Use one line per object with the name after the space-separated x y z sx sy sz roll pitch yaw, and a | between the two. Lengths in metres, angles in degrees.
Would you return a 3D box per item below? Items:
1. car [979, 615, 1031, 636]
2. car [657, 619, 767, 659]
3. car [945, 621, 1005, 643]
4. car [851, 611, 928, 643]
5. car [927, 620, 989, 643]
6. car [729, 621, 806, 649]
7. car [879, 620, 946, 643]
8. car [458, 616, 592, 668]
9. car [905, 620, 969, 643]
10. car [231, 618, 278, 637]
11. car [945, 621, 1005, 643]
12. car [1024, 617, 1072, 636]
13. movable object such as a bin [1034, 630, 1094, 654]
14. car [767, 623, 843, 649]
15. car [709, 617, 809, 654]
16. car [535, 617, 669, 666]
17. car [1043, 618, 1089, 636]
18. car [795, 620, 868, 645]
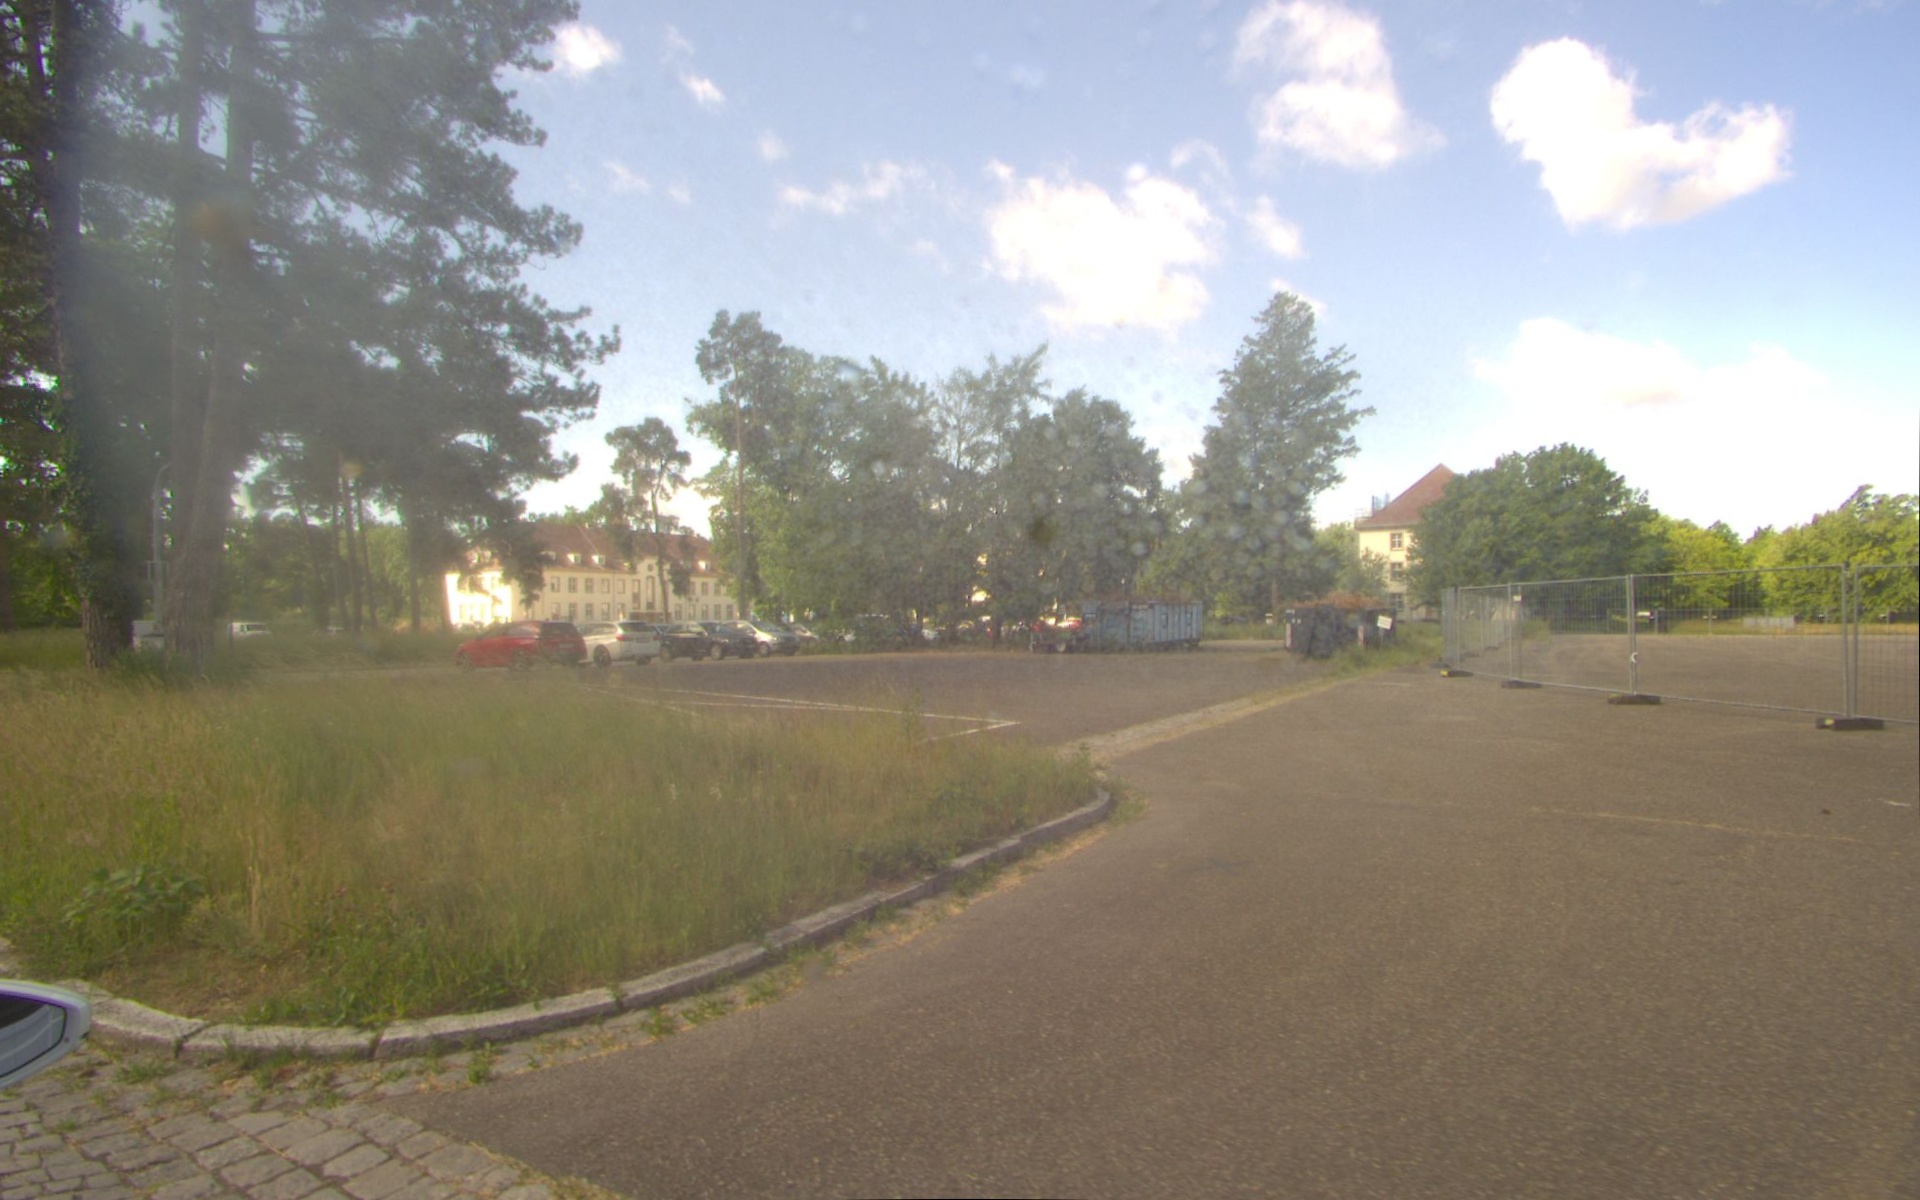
3.466 1.980 76.920 3.640 1.567 1.705 -1 -2 32 | car
-9.080 1.395 36.510 3.988 1.332 1.613 -1 0 33 | car
1.082 2.358 73.989 4.181 1.567 1.721 -1 -2 32 | car
-4.505 1.764 63.895 4.677 1.972 1.982 -1 -2 32 | car
-0.144 2.267 71.620 4.181 1.567 1.721 -1 -2 32 | car
-10.613 1.923 55.156 4.181 1.512 1.721 -1 -2 32 | car
-3.161 2.079 66.199 4.181 1.443 1.721 -1 -2 32 | car
-12.818 1.249 29.447 4.071 1.416 1.653 -2 -3 32 | car
-1.589 2.157 68.782 4.181 1.567 1.721 -1 -2 32 | car
-59.495 2.314 84.412 4.103 1.602 1.823 -1 -1 32 | car
1.097 2.358 73.981 4.181 1.567 1.721 -1 -2 32 | car
7.421 2.272 84.489 3.682 1.567 1.705 -1 -2 32 | car
3.461 1.381 33.133 1.696 0.762 1.143 -1 -1 26 | movable object such as a bin
-8.815 2.027 56.851 4.181 1.443 1.721 -1 -2 32 | car
-7.856 1.375 39.110 3.740 1.389 1.720 -1 -2 34 | car
-11.449 1.324 31.963 4.180 1.396 1.776 -3 -2 31 | car
9.226 2.378 87.173 3.682 1.567 1.705 -1 -2 32 | car
-7.688 1.941 59.702 4.181 1.487 1.721 -1 -2 32 | car
